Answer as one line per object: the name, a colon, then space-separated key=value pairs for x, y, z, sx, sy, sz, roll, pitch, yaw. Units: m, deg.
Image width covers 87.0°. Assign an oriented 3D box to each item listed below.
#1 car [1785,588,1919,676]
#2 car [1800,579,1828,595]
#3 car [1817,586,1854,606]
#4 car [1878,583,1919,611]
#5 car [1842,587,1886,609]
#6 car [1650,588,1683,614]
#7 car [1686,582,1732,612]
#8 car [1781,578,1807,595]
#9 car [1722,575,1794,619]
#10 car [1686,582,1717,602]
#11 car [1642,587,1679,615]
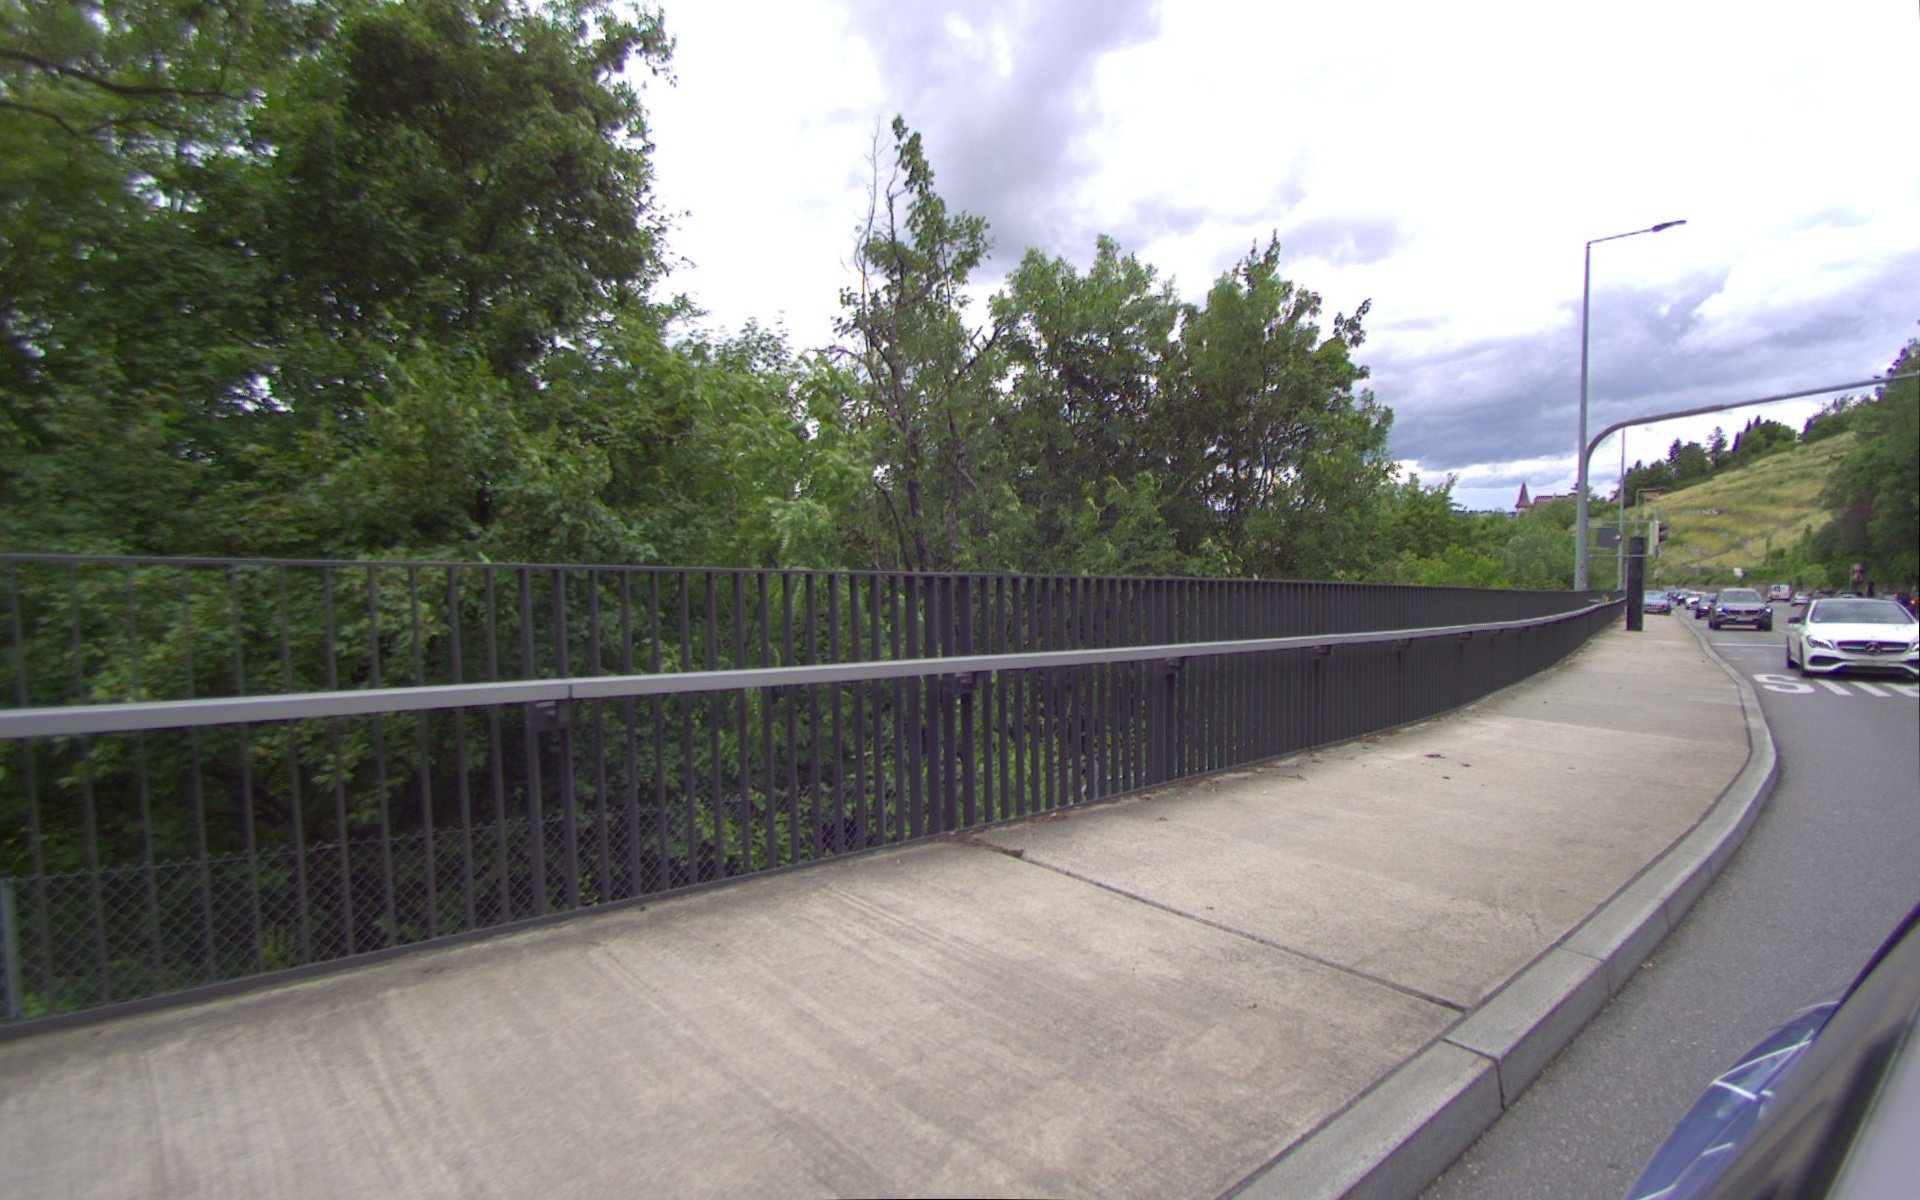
car: x=16.642 y=0.548 z=18.670 sx=1.892 sy=1.445 sz=4.210 roll=-1 pitch=-1 yaw=35
car: x=79.897 y=-1.195 z=94.686 sx=1.676 sy=1.461 sz=4.166 roll=-2 pitch=-1 yaw=44
car: x=72.545 y=-0.338 z=83.902 sx=1.936 sy=1.568 sz=4.195 roll=1 pitch=1 yaw=35
car: x=53.999 y=-0.187 z=57.846 sx=1.808 sy=1.452 sz=4.193 roll=-2 pitch=0 yaw=37
car: x=63.001 y=-0.123 z=70.611 sx=1.775 sy=1.501 sz=4.158 roll=-2 pitch=-1 yaw=35
car: x=47.396 y=0.019 z=67.912 sx=1.721 sy=1.588 sz=4.566 roll=2 pitch=2 yaw=35
car: x=42.233 y=-0.183 z=57.099 sx=1.988 sy=1.603 sz=3.949 roll=1 pitch=1 yaw=36
car: x=98.575 y=-1.611 z=119.641 sx=1.916 sy=2.030 sz=5.287 roll=0 pitch=1 yaw=35
car: x=31.114 y=-0.119 z=39.571 sx=1.987 sy=1.609 sz=3.949 roll=-2 pitch=0 yaw=36
car: x=61.747 y=-0.705 z=84.356 sx=1.988 sy=1.603 sz=3.949 roll=1 pitch=1 yaw=36
car: x=43.355 y=0.011 z=62.643 sx=1.752 sy=1.563 sz=4.371 roll=4 pitch=3 yaw=35
